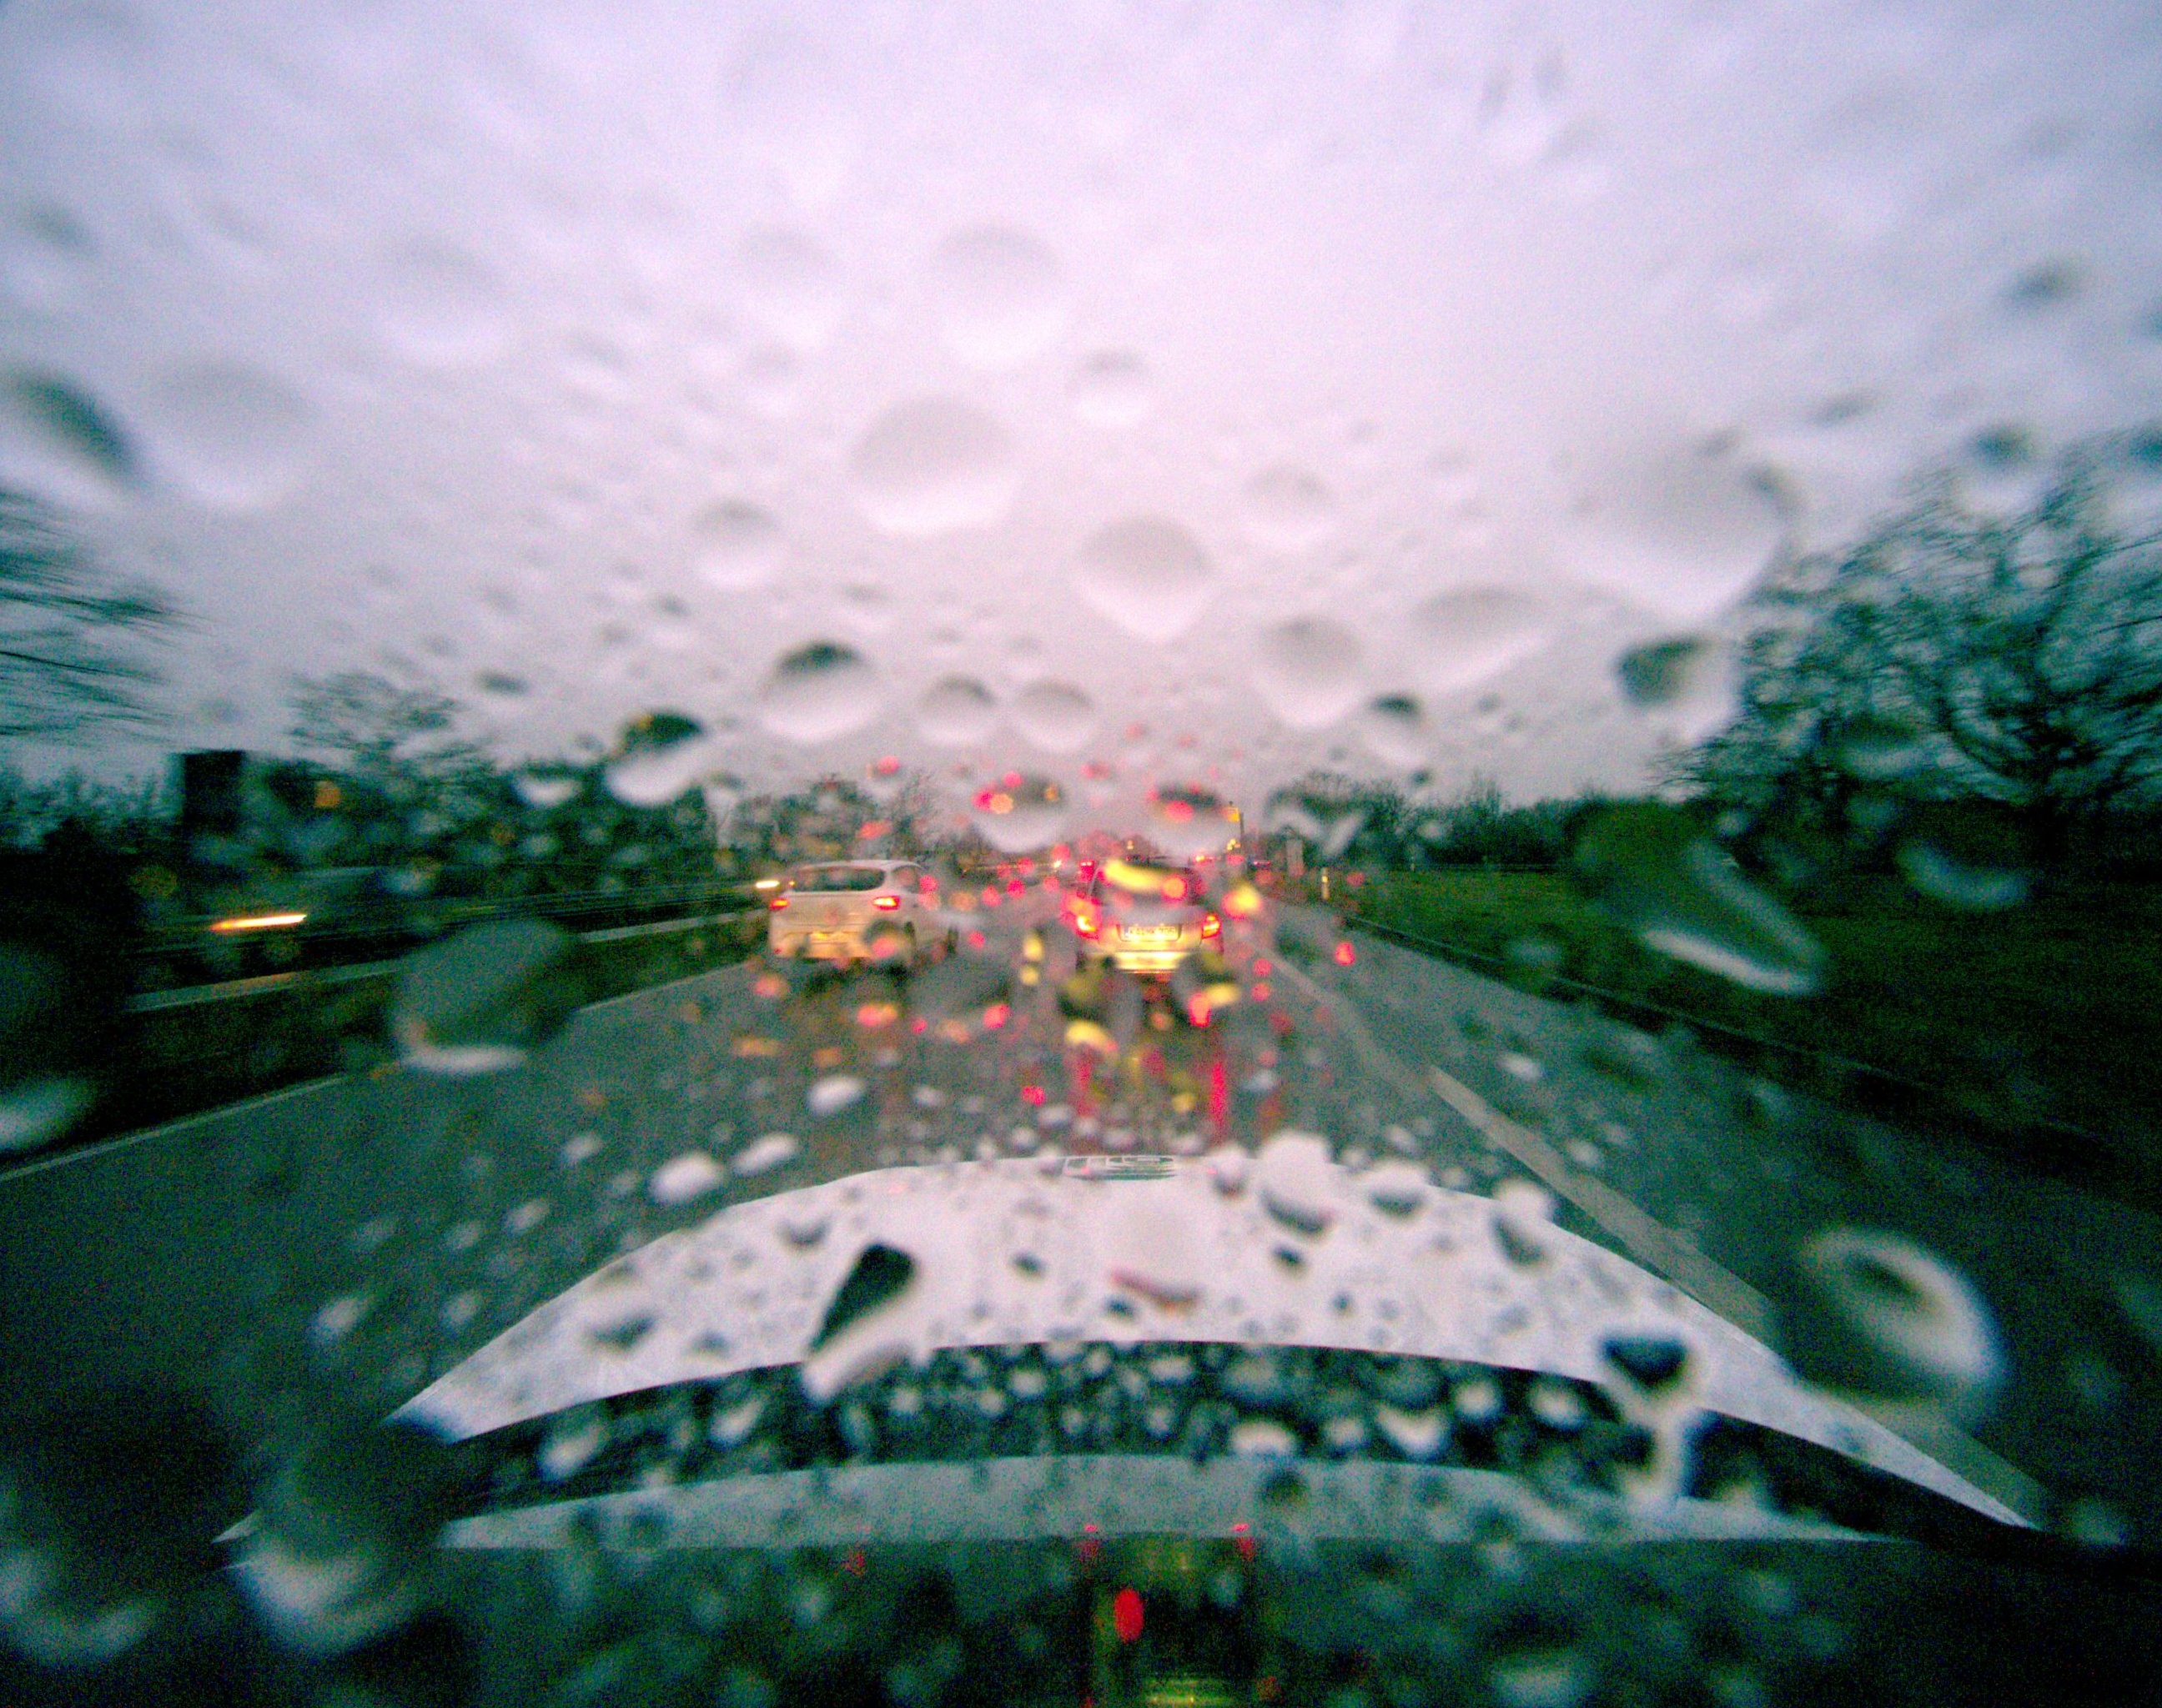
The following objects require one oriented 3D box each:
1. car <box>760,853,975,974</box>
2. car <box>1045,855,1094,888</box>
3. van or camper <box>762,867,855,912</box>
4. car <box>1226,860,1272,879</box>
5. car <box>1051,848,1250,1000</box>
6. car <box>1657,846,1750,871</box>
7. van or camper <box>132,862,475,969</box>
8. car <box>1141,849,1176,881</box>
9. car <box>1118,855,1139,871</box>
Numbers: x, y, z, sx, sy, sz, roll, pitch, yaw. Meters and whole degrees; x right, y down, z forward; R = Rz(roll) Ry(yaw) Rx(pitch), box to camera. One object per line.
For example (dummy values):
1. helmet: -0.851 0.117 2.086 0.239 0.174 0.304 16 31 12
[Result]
1. car: -2.899 0.748 12.100 1.716 1.440 4.231 -2 -1 5
2. car: -0.545 0.871 42.181 1.983 1.601 4.317 0 0 7
3. van or camper: -9.784 1.230 29.610 1.519 1.481 4.440 0 -1 5
4. car: 14.415 1.309 70.069 1.799 1.545 3.965 -2 0 -26
5. car: 0.852 0.737 10.408 1.985 1.500 4.142 -2 -1 4
6. car: 37.169 0.264 48.760 3.956 1.346 2.009 -1 0 16
7. van or camper: -15.138 1.090 16.358 1.751 1.736 4.895 -2 0 8
8. car: 4.636 0.627 48.045 1.887 1.767 4.317 -2 0 7
9. car: 4.827 0.855 82.598 1.780 1.545 4.008 -2 0 7
